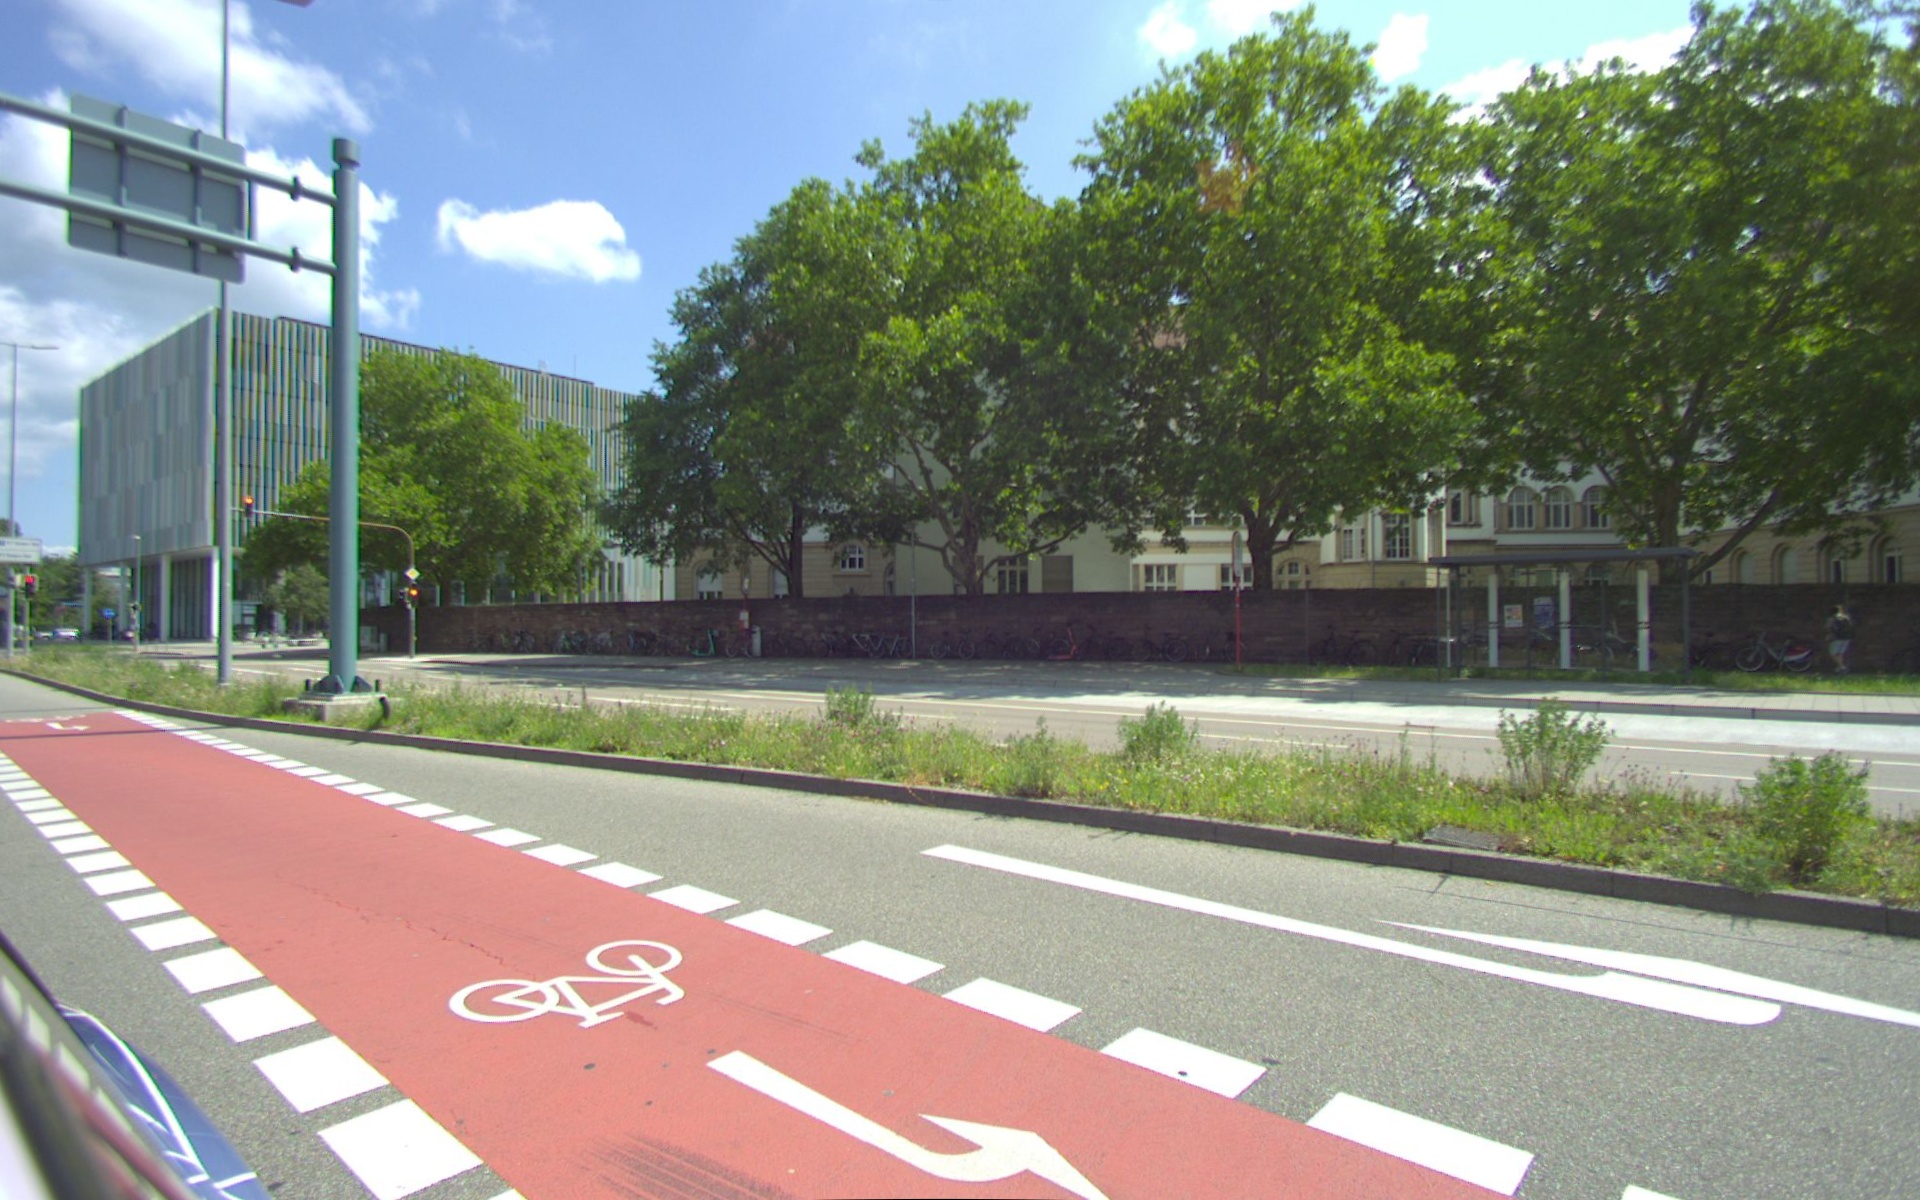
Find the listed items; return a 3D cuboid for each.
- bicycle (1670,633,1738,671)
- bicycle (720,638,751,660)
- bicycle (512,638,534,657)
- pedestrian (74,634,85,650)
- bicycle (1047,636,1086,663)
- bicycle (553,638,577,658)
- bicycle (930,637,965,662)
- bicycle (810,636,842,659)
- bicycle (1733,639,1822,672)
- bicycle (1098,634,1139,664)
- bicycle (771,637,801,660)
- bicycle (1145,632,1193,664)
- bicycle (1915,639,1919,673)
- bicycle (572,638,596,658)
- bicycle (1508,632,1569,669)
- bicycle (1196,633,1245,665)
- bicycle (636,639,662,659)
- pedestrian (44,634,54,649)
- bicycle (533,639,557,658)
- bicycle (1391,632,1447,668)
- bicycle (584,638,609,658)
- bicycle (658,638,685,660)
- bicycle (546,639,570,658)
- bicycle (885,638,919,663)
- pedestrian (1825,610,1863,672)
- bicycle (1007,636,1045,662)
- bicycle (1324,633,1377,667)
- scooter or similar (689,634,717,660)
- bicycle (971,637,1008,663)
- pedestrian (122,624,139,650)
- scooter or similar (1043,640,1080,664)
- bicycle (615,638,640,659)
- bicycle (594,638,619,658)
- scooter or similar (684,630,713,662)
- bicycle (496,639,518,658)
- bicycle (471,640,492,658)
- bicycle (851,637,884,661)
[{"bbox_3d":[19.242,1.345,26.198,1.385,0.972,0.263,-1,-2,18],"label":"bicycle"},{"bbox_3d":[-8.634,1.884,38.957,1.226,0.837,0.263,-1,-2,19],"label":"bicycle"},{"bbox_3d":[-19.959,2.175,46.207,1.230,0.837,0.262,-1,-2,29],"label":"bicycle"},{"bbox_3d":[-81.875,3.892,94.065,0.689,1.464,0.687,-2,-3,45],"label":"pedestrian"},{"bbox_3d":[3.420,1.592,32.463,1.230,0.837,0.262,-1,-2,28],"label":"bicycle"},{"bbox_3d":[-17.393,2.108,44.569,1.230,0.837,0.262,-1,-2,29],"label":"bicycle"},{"bbox_3d":[-0.430,1.671,34.264,1.230,0.837,0.262,-1,-2,28],"label":"bicycle"},{"bbox_3d":[-4.878,1.729,36.865,1.231,0.837,0.262,-1,-2,30],"label":"bicycle"},{"bbox_3d":[20.754,1.405,25.724,1.734,0.823,0.327,-1,-2,18],"label":"bicycle"},{"bbox_3d":[4.948,1.521,31.586,1.230,0.915,0.262,-1,-2,28],"label":"bicycle"},{"bbox_3d":[-6.458,1.808,37.573,1.231,0.837,0.262,-1,-2,30],"label":"bicycle"},{"bbox_3d":[6.411,1.475,31.042,1.385,0.972,0.263,-1,-2,20],"label":"bicycle"},{"bbox_3d":[24.441,1.357,24.608,1.734,0.823,0.382,-1,-2,18],"label":"bicycle"},{"bbox_3d":[-16.254,2.079,43.734,1.231,0.837,0.262,-1,-2,30],"label":"bicycle"},{"bbox_3d":[15.640,1.368,27.392,1.385,0.972,0.263,-1,-2,18],"label":"bicycle"},{"bbox_3d":[7.817,1.468,30.421,1.389,0.972,0.262,-1,-2,28],"label":"bicycle"},{"bbox_3d":[-12.738,2.004,41.459,1.231,0.837,0.262,-1,-2,30],"label":"bicycle"},{"bbox_3d":[-88.939,4.043,98.796,0.686,1.464,0.689,1,-3,-45],"label":"pedestrian"},{"bbox_3d":[-18.582,2.159,45.319,1.230,0.837,0.262,-1,-2,29],"label":"bicycle"},{"bbox_3d":[12.874,1.404,28.423,1.385,0.972,0.263,-1,-2,18],"label":"bicycle"},{"bbox_3d":[-15.303,2.002,42.593,1.230,0.837,0.262,-1,-2,29],"label":"bicycle"},{"bbox_3d":[-11.555,1.964,40.588,1.231,0.837,0.262,-1,-2,30],"label":"bicycle"},{"bbox_3d":[-17.469,2.096,43.975,1.230,0.837,0.262,-1,-2,29],"label":"bicycle"},{"bbox_3d":[-2.004,1.749,35.123,1.231,0.837,0.262,-1,-2,30],"label":"bicycle"},{"bbox_3d":[21.505,0.987,24.626,0.633,1.484,0.504,-2,-2,39],"label":"pedestrian"},{"bbox_3d":[2.143,1.609,33.075,1.230,0.837,0.262,-1,-2,28],"label":"bicycle"},{"bbox_3d":[11.189,1.426,29.037,1.385,0.972,0.263,-1,-2,18],"label":"bicycle"},{"bbox_3d":[-10.132,1.866,39.926,1.133,1.028,0.264,-1,-2,19],"label":"scooter or similar"},{"bbox_3d":[0.971,1.665,33.724,1.230,0.837,0.262,-1,-2,28],"label":"bicycle"},{"bbox_3d":[-65.691,2.906,80.128,0.994,2.029,0.853,-2,-2,39],"label":"pedestrian"},{"bbox_3d":[3.189,1.627,31.814,1.133,0.734,0.264,-1,-2,18],"label":"scooter or similar"},{"bbox_3d":[-13.867,2.023,42.191,1.231,0.837,0.262,-1,-2,30],"label":"bicycle"},{"bbox_3d":[-14.971,2.013,42.889,1.231,0.837,0.262,-1,-2,30],"label":"bicycle"},{"bbox_3d":[-10.060,1.757,38.904,1.230,1.199,0.262,-1,-2,29],"label":"scooter or similar"},{"bbox_3d":[-21.039,2.250,46.975,1.231,0.837,0.262,-1,-2,30],"label":"bicycle"},{"bbox_3d":[-22.678,2.300,47.967,1.231,0.837,0.262,-1,-2,30],"label":"bicycle"},{"bbox_3d":[-3.299,1.752,35.938,1.231,0.837,0.262,-1,-2,30],"label":"bicycle"}]
